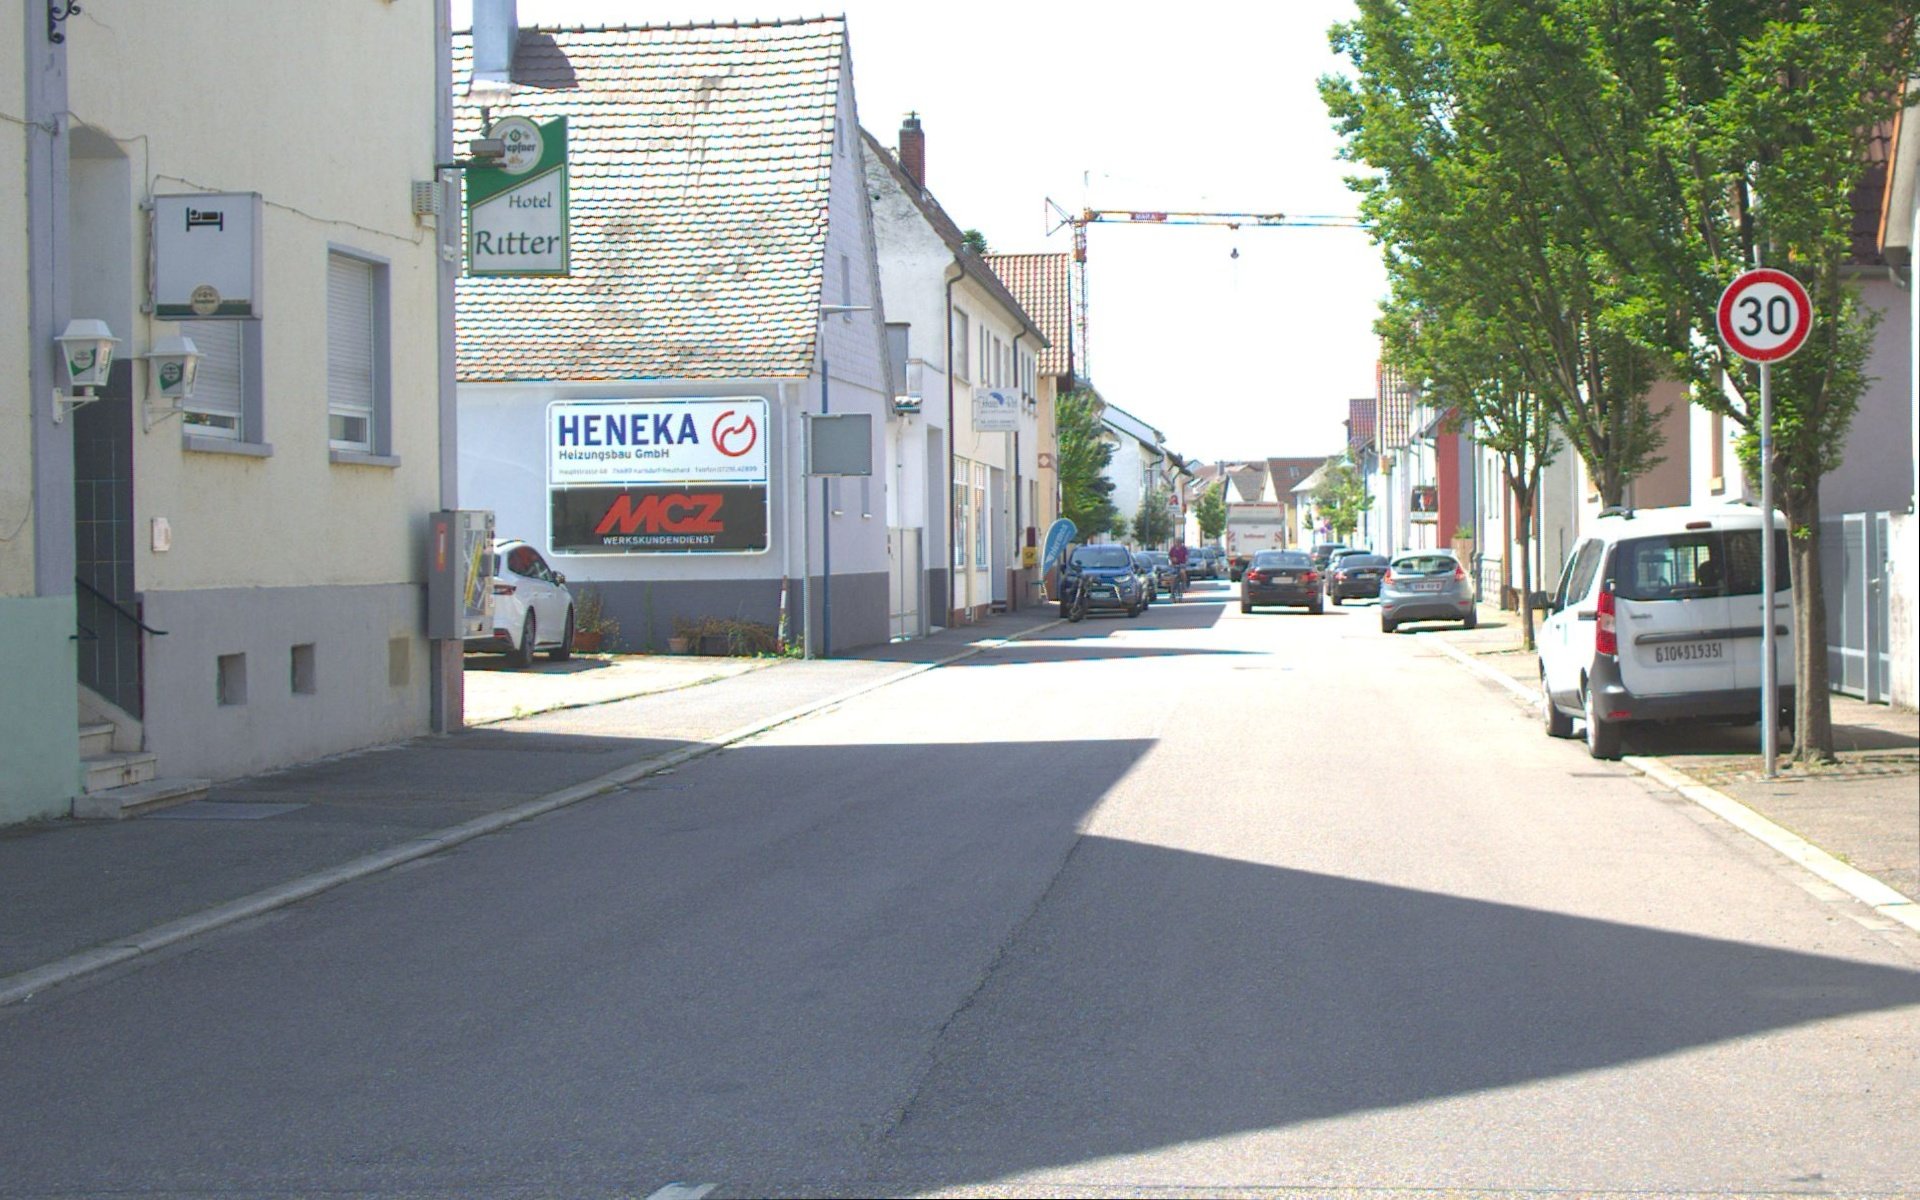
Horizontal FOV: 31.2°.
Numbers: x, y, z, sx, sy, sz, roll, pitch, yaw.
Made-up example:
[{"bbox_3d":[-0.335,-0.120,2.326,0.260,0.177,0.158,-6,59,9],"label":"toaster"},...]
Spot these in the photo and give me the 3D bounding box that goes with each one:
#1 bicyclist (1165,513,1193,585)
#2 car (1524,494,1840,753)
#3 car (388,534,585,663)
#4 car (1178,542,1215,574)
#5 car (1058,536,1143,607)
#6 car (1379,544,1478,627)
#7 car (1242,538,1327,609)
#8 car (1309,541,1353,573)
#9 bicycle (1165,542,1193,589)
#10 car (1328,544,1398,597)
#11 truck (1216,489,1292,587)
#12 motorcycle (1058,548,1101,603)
[{"bbox_3d":[6.255,-1.449,98.006,0.740,2.052,0.844,1,1,4],"label":"bicyclist"},{"bbox_3d":[5.470,0.131,26.505,1.719,1.784,4.143,-2,1,3],"label":"car"},{"bbox_3d":[-6.024,-0.058,44.156,1.720,1.550,4.199,1,1,3],"label":"car"},{"bbox_3d":[11.922,-2.133,172.941,1.809,1.583,4.000,0,1,4],"label":"car"},{"bbox_3d":[3.213,-0.665,78.071,1.809,1.583,4.000,0,1,4],"label":"car"},{"bbox_3d":[8.563,-0.293,63.128,1.720,1.456,4.156,0,1,7],"label":"car"},{"bbox_3d":[7.514,-0.637,79.316,1.902,1.558,4.475,0,1,6],"label":"car"},{"bbox_3d":[15.157,-1.772,140.462,1.720,1.264,4.156,0,1,5],"label":"car"},{"bbox_3d":[6.250,-0.976,98.076,0.751,1.303,2.685,1,1,4],"label":"bicycle"},{"bbox_3d":[10.682,-0.805,91.304,1.720,1.350,4.156,0,1,5],"label":"car"},{"bbox_3d":[13.343,-2.746,155.317,3.145,4.236,9.300,1,1,6],"label":"truck"},{"bbox_3d":[2.582,-0.531,74.168,0.846,1.166,2.469,1,1,4],"label":"motorcycle"}]
